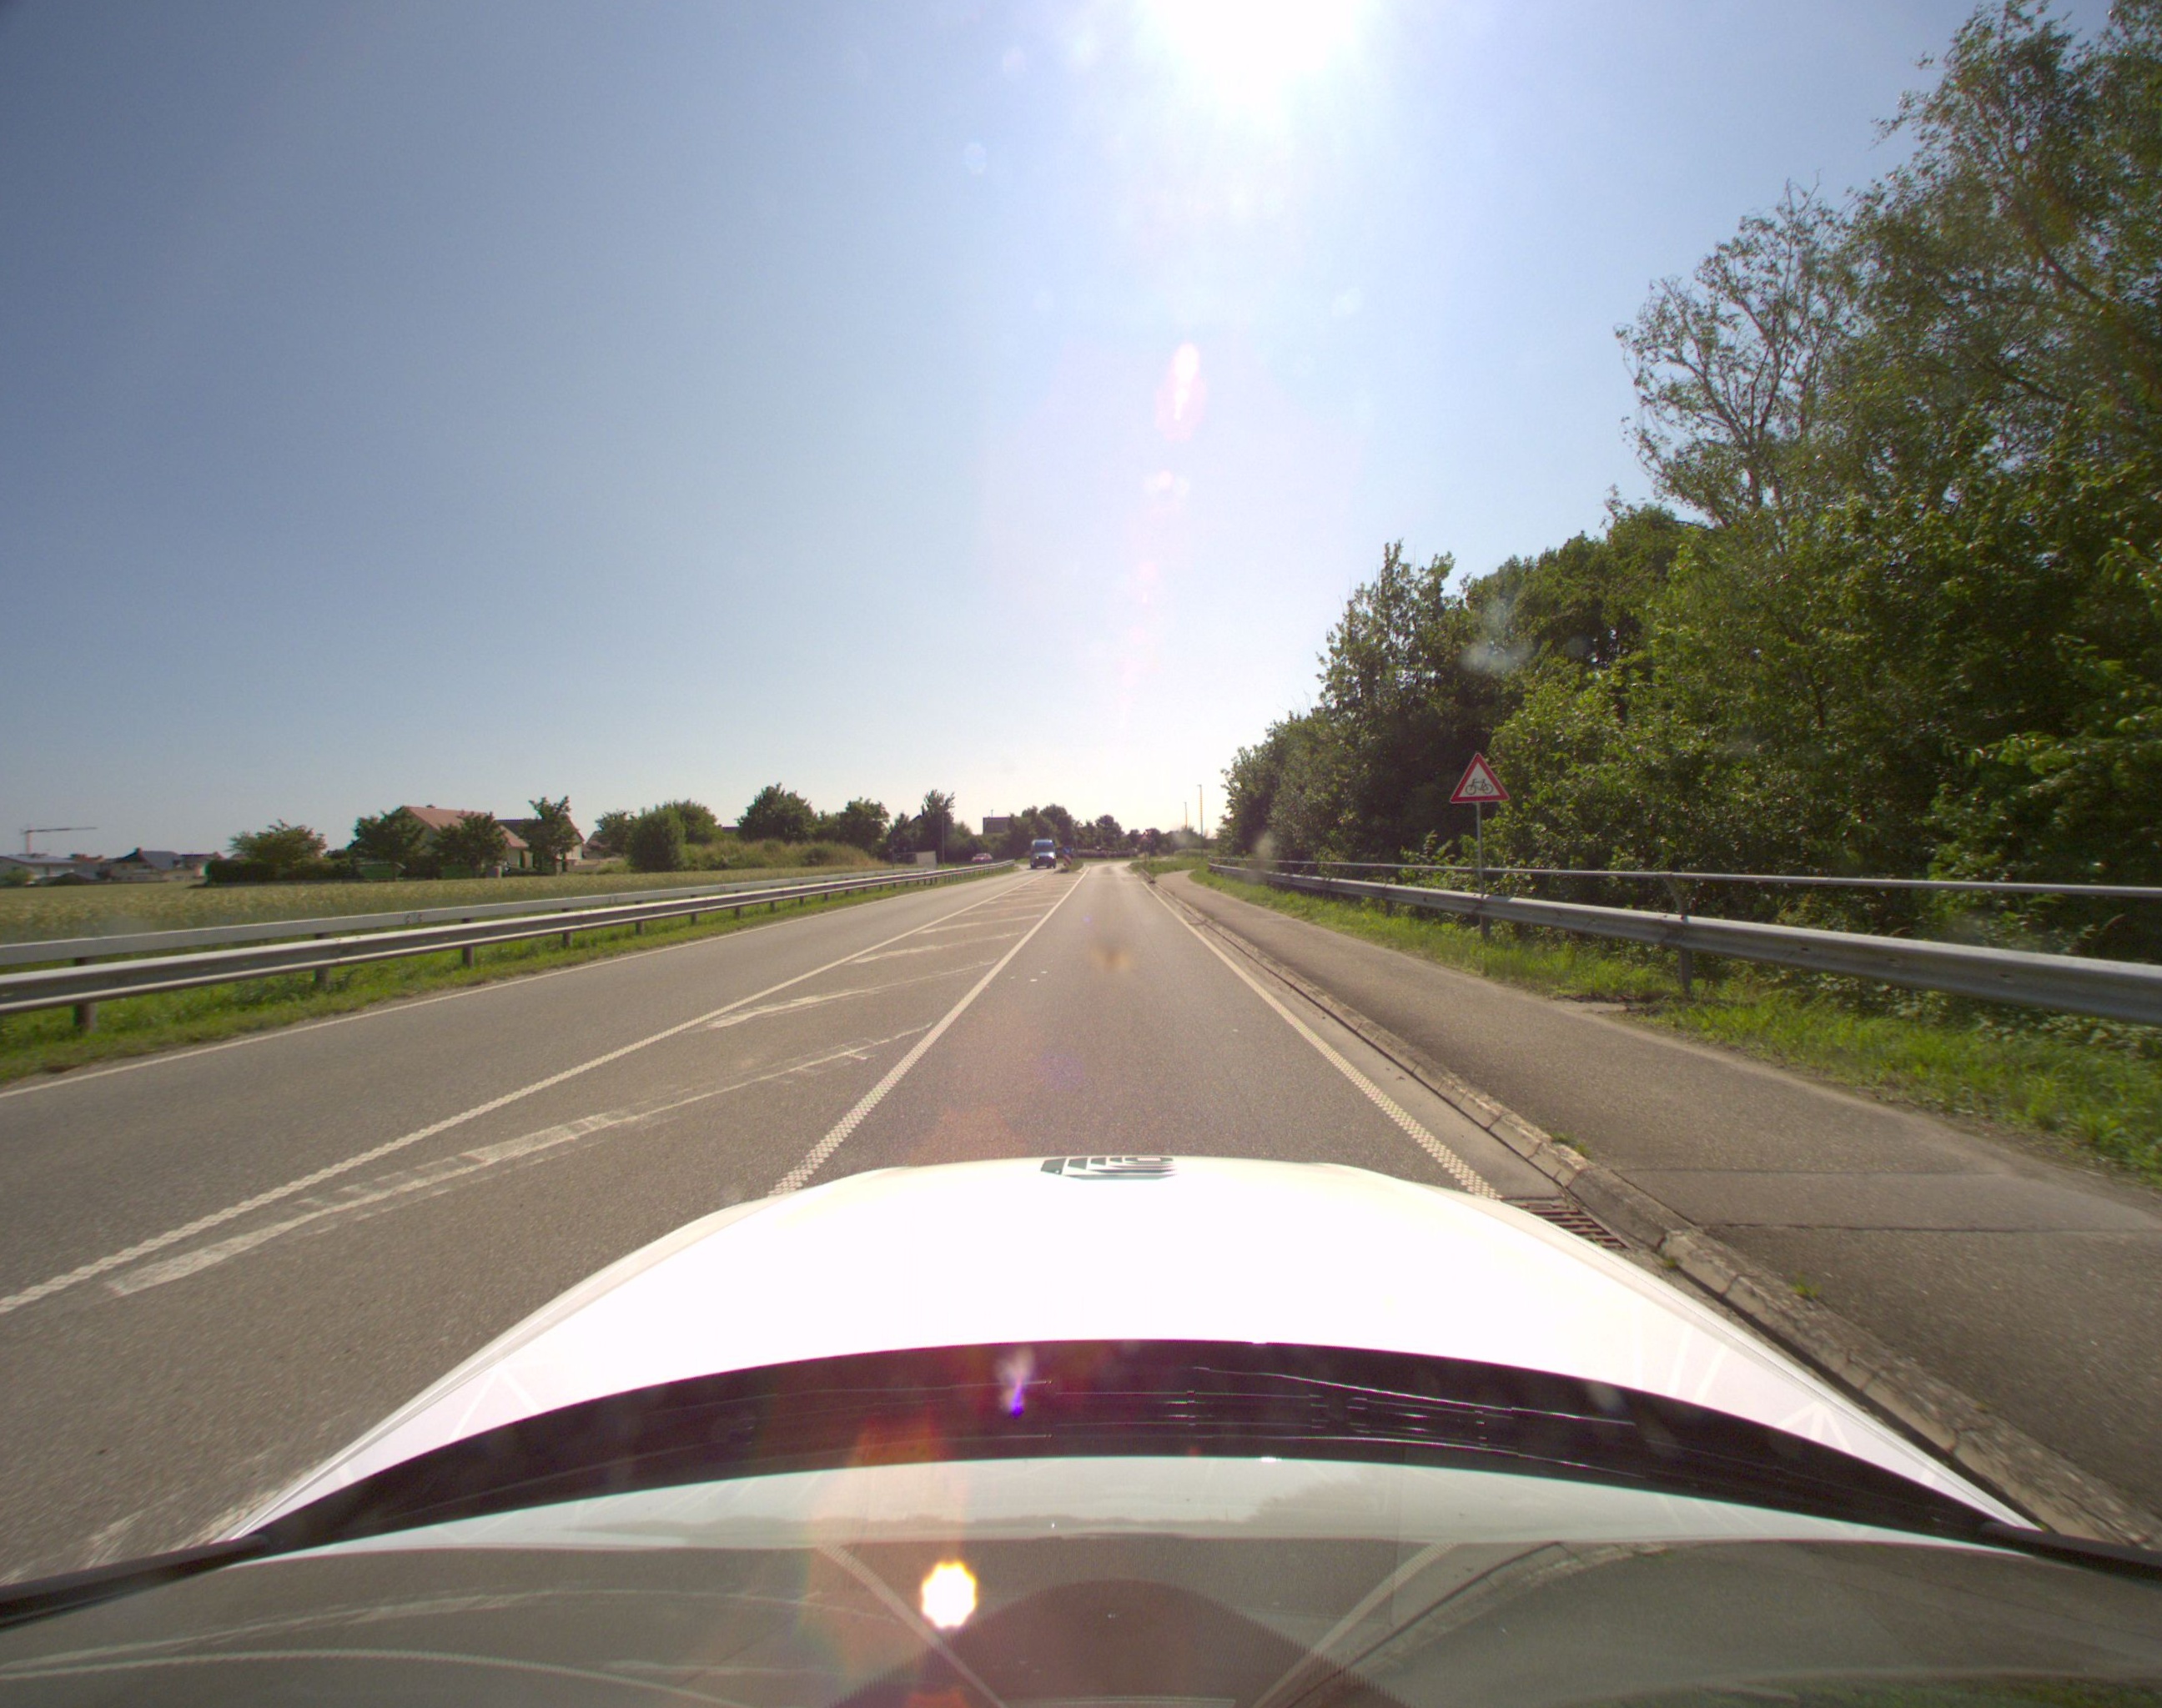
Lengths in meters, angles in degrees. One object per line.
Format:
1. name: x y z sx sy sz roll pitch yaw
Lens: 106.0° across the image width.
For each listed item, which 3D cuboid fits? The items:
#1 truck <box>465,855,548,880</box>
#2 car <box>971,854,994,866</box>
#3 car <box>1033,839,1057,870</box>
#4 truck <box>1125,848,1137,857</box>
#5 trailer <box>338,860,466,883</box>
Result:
1. truck: -65.918 1.551 93.673 7.719 2.649 2.494 -1 0 -35
2. car: -12.697 0.738 104.943 1.615 1.491 3.818 -3 0 15
3. car: -3.334 0.032 75.159 1.989 2.611 7.283 -3 0 -2
4. truck: 11.760 -0.351 191.104 1.978 2.013 4.018 -1 0 17
5. trailer: -73.505 1.853 88.571 10.535 2.278 1.979 -1 0 -35
